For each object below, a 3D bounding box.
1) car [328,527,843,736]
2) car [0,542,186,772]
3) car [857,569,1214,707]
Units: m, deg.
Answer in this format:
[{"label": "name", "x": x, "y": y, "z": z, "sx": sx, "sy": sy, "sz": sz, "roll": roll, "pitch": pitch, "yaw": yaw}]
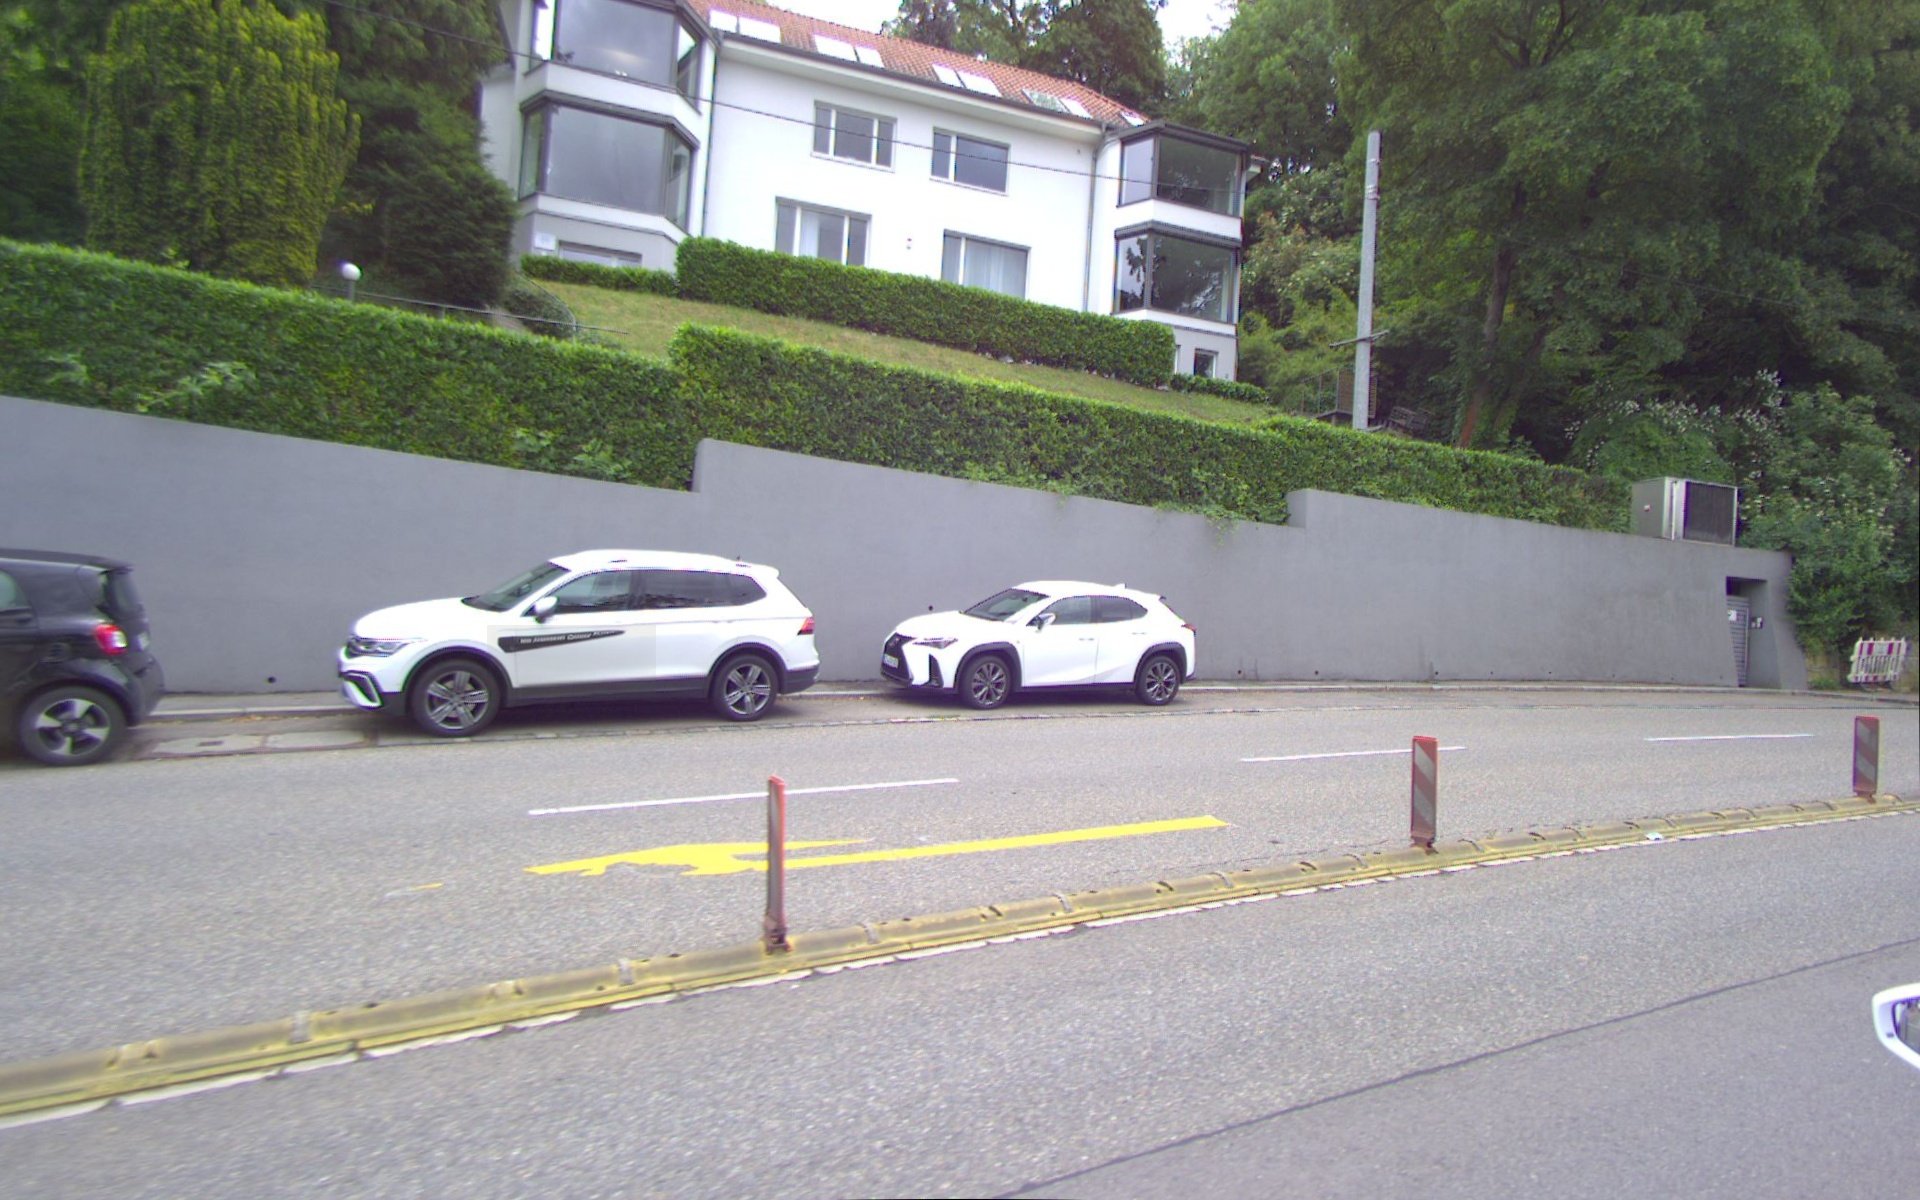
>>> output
[{"label": "car", "x": -3.773, "y": 0.284, "z": 10.462, "sx": 4.711, "sy": 1.754, "sz": 1.848, "roll": 2, "pitch": 2, "yaw": -33}, {"label": "car", "x": -7.721, "y": 0.369, "z": 7.532, "sx": 2.928, "sy": 1.594, "sz": 1.700, "roll": 0, "pitch": 4, "yaw": -35}, {"label": "car", "x": 1.031, "y": 0.494, "z": 13.436, "sx": 4.417, "sy": 1.593, "sz": 1.826, "roll": 2, "pitch": 1, "yaw": -26}]
